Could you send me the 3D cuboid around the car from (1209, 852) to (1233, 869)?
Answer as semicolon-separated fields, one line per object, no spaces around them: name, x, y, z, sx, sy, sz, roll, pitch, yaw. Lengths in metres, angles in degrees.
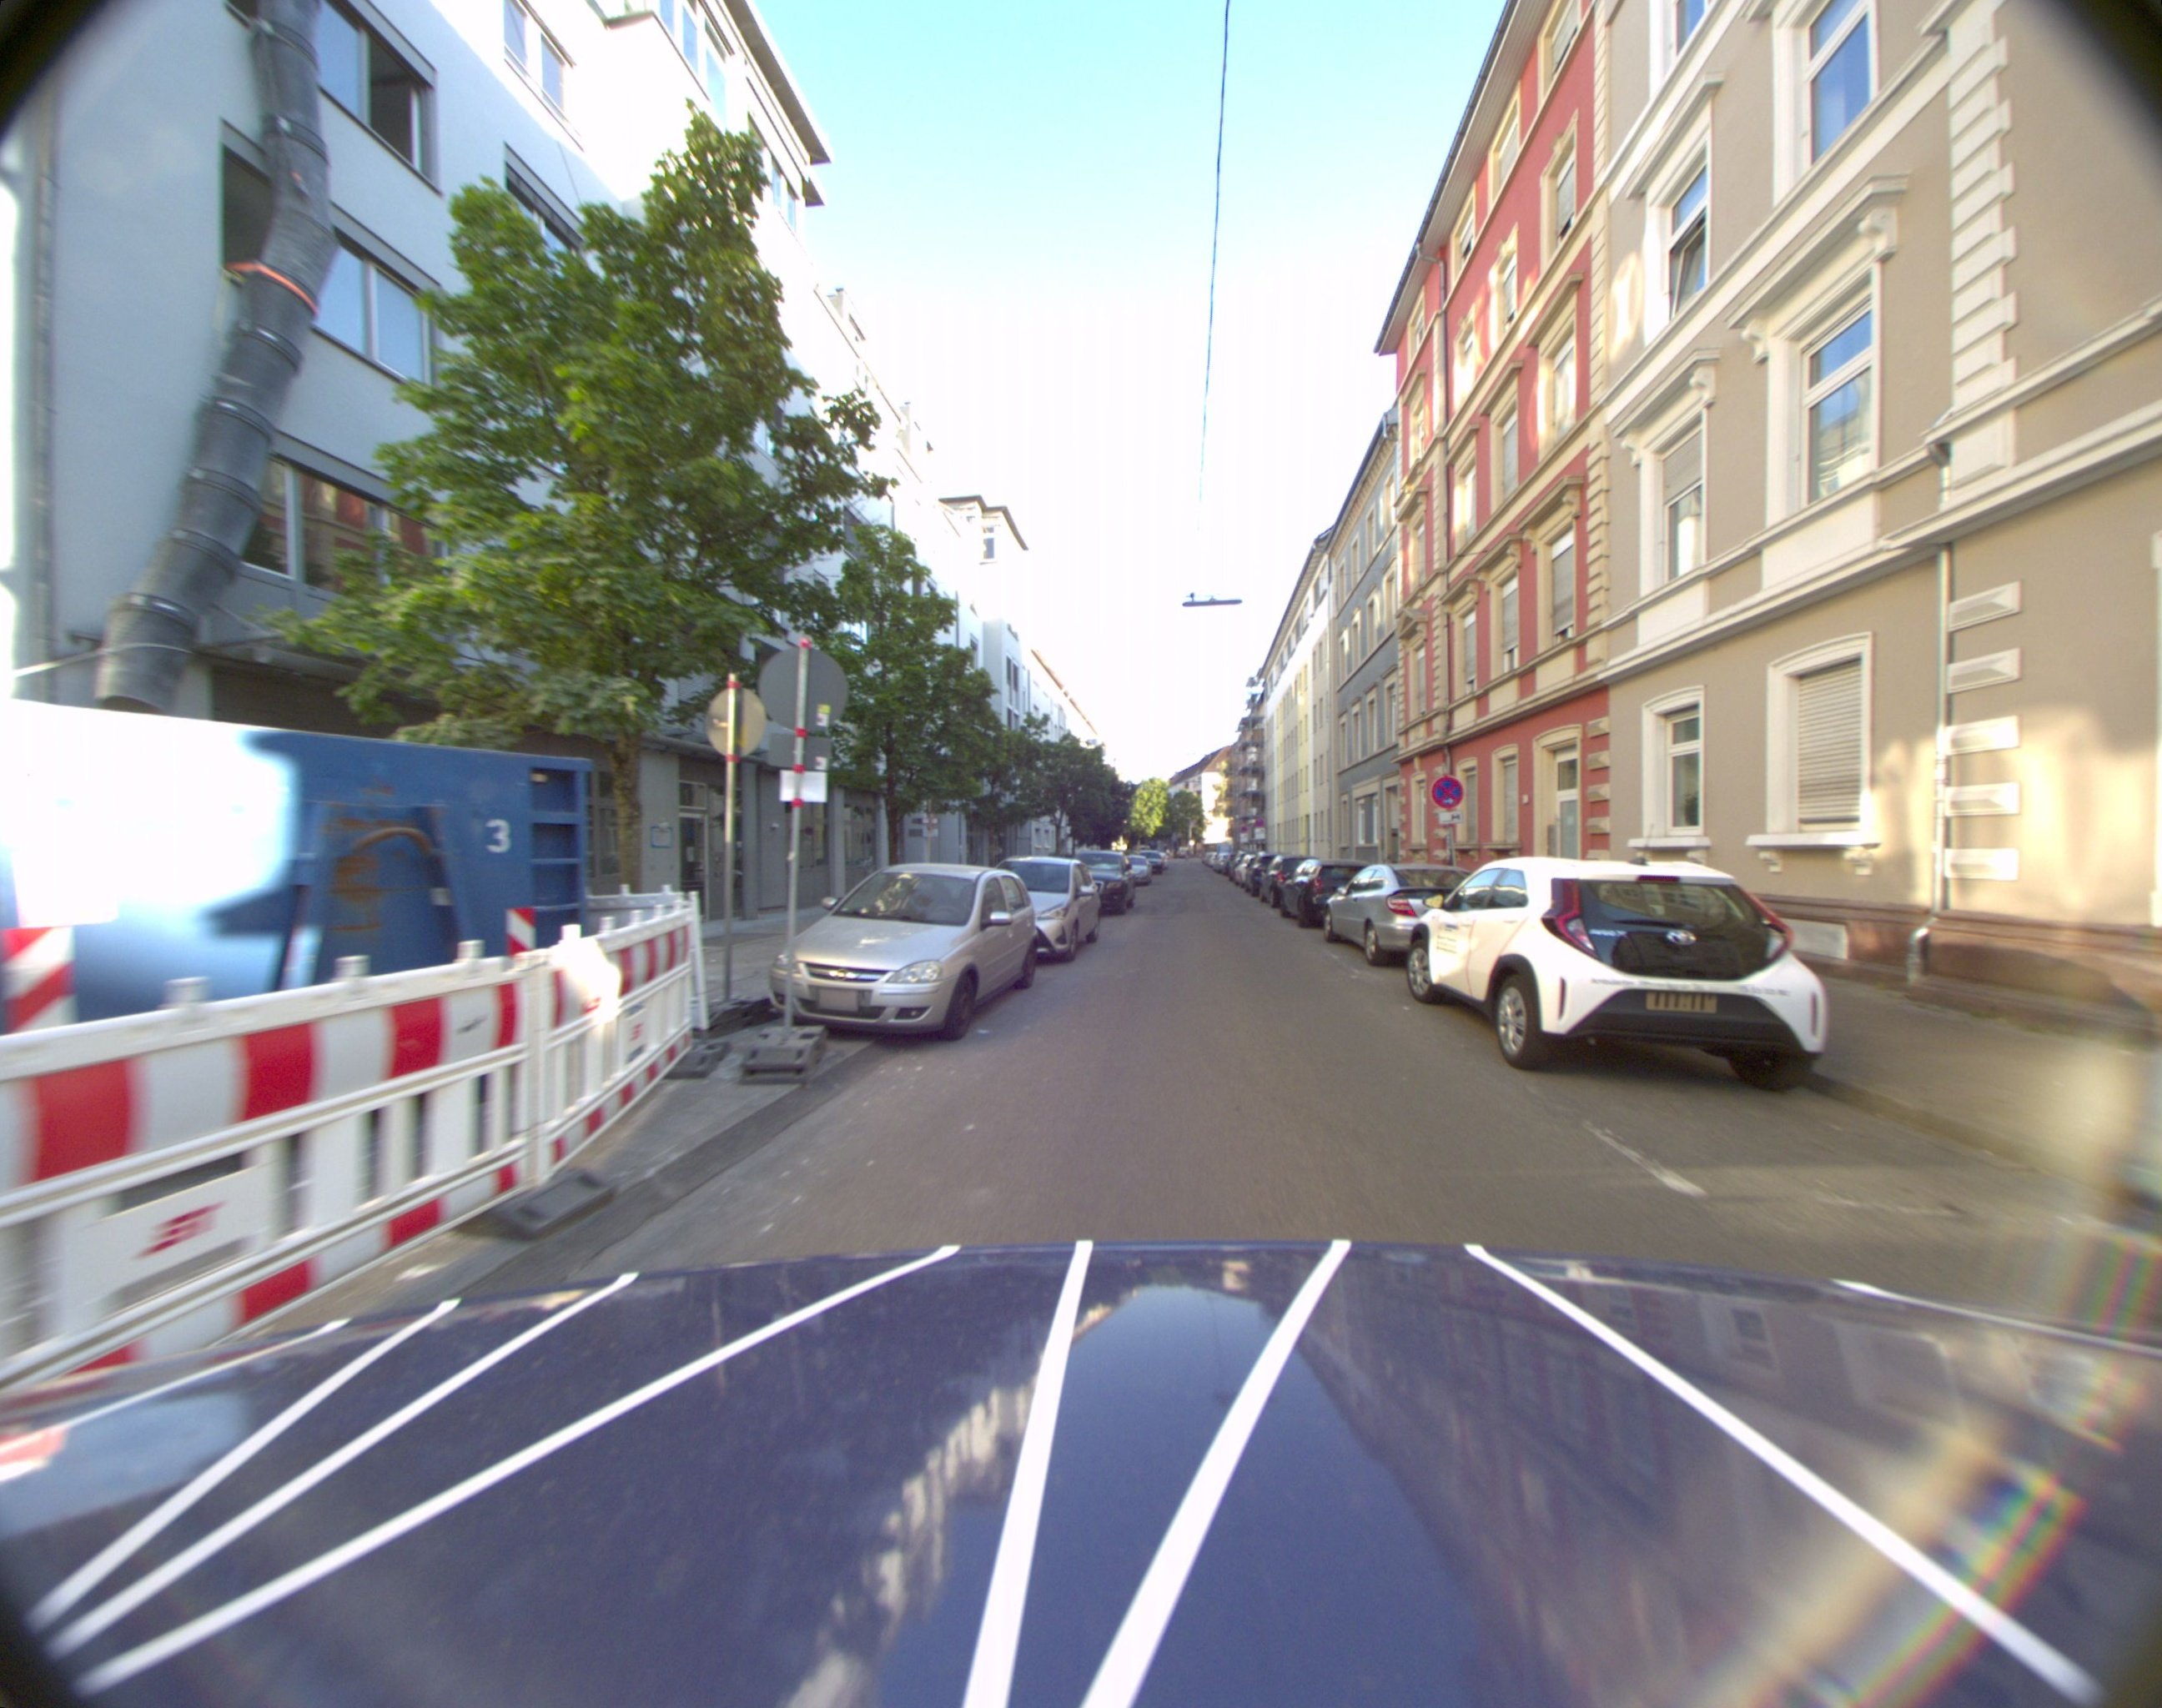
car;13.427;0.597;73.140;1.997;1.576;4.495;-1;1;7

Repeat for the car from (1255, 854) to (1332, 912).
car;6.267;0.781;22.760;1.536;1.490;4.197;1;1;6

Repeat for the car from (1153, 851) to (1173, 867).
car;7.947;0.484;73.617;1.854;1.480;4.002;-1;0;7

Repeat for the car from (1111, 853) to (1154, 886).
car;2.591;0.705;37.282;1.854;1.480;4.002;-1;0;7

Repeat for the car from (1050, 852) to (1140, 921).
car;0.512;0.823;21.156;1.862;1.679;4.393;-1;0;9

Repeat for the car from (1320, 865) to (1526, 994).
car;4.800;0.945;11.290;1.612;1.420;3.964;2;1;7

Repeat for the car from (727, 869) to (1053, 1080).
car;-1.544;0.943;7.734;1.637;1.439;4.069;-1;0;10

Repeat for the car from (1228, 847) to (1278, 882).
car;8.680;0.504;38.648;1.997;1.640;4.495;-1;1;7

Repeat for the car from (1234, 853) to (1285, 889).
car;7.803;0.708;33.604;1.661;1.420;4.355;-1;1;6

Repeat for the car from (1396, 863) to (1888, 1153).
car;4.049;0.911;6.380;1.687;1.487;3.846;3;1;9

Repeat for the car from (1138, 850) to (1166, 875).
car;4.994;0.541;53.602;1.854;1.649;4.001;-1;0;6

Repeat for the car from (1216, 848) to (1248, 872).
car;10.535;0.402;53.202;1.997;1.566;4.152;-1;0;8

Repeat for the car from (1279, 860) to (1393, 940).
car;5.445;0.901;16.682;1.588;1.407;3.914;3;1;8

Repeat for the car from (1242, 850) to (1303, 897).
car;6.899;0.656;27.732;1.596;1.513;4.432;-1;1;7

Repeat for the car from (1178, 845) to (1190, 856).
car;18.399;-0.612;135.786;1.997;1.783;4.002;-1;0;8

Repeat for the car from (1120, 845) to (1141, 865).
car;5.298;0.113;80.499;1.997;2.002;4.002;-1;0;7

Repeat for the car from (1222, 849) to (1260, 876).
car;10.148;0.522;48.469;1.997;1.576;4.495;-1;1;7

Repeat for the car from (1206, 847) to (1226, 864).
car;14.816;0.146;83.296;1.997;1.783;4.002;-1;0;8

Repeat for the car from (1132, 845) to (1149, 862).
car;7.307;-0.055;93.074;1.997;2.002;4.002;-1;0;7

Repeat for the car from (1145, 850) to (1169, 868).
car;6.638;0.397;65.961;1.901;1.510;4.226;-1;0;7

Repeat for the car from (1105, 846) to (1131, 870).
car;3.266;0.339;66.648;1.997;2.002;4.002;-1;0;7

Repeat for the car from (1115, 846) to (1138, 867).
car;4.603;0.220;76.060;1.997;2.002;4.002;-1;0;7

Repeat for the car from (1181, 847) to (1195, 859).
car;16.304;-0.137;115.731;1.997;1.783;4.002;-1;0;8

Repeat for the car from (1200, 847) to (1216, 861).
car;17.618;-0.031;105.544;1.997;1.783;4.002;-1;0;8

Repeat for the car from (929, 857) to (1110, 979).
car;-0.776;0.884;12.288;1.911;1.576;4.003;-1;0;10
